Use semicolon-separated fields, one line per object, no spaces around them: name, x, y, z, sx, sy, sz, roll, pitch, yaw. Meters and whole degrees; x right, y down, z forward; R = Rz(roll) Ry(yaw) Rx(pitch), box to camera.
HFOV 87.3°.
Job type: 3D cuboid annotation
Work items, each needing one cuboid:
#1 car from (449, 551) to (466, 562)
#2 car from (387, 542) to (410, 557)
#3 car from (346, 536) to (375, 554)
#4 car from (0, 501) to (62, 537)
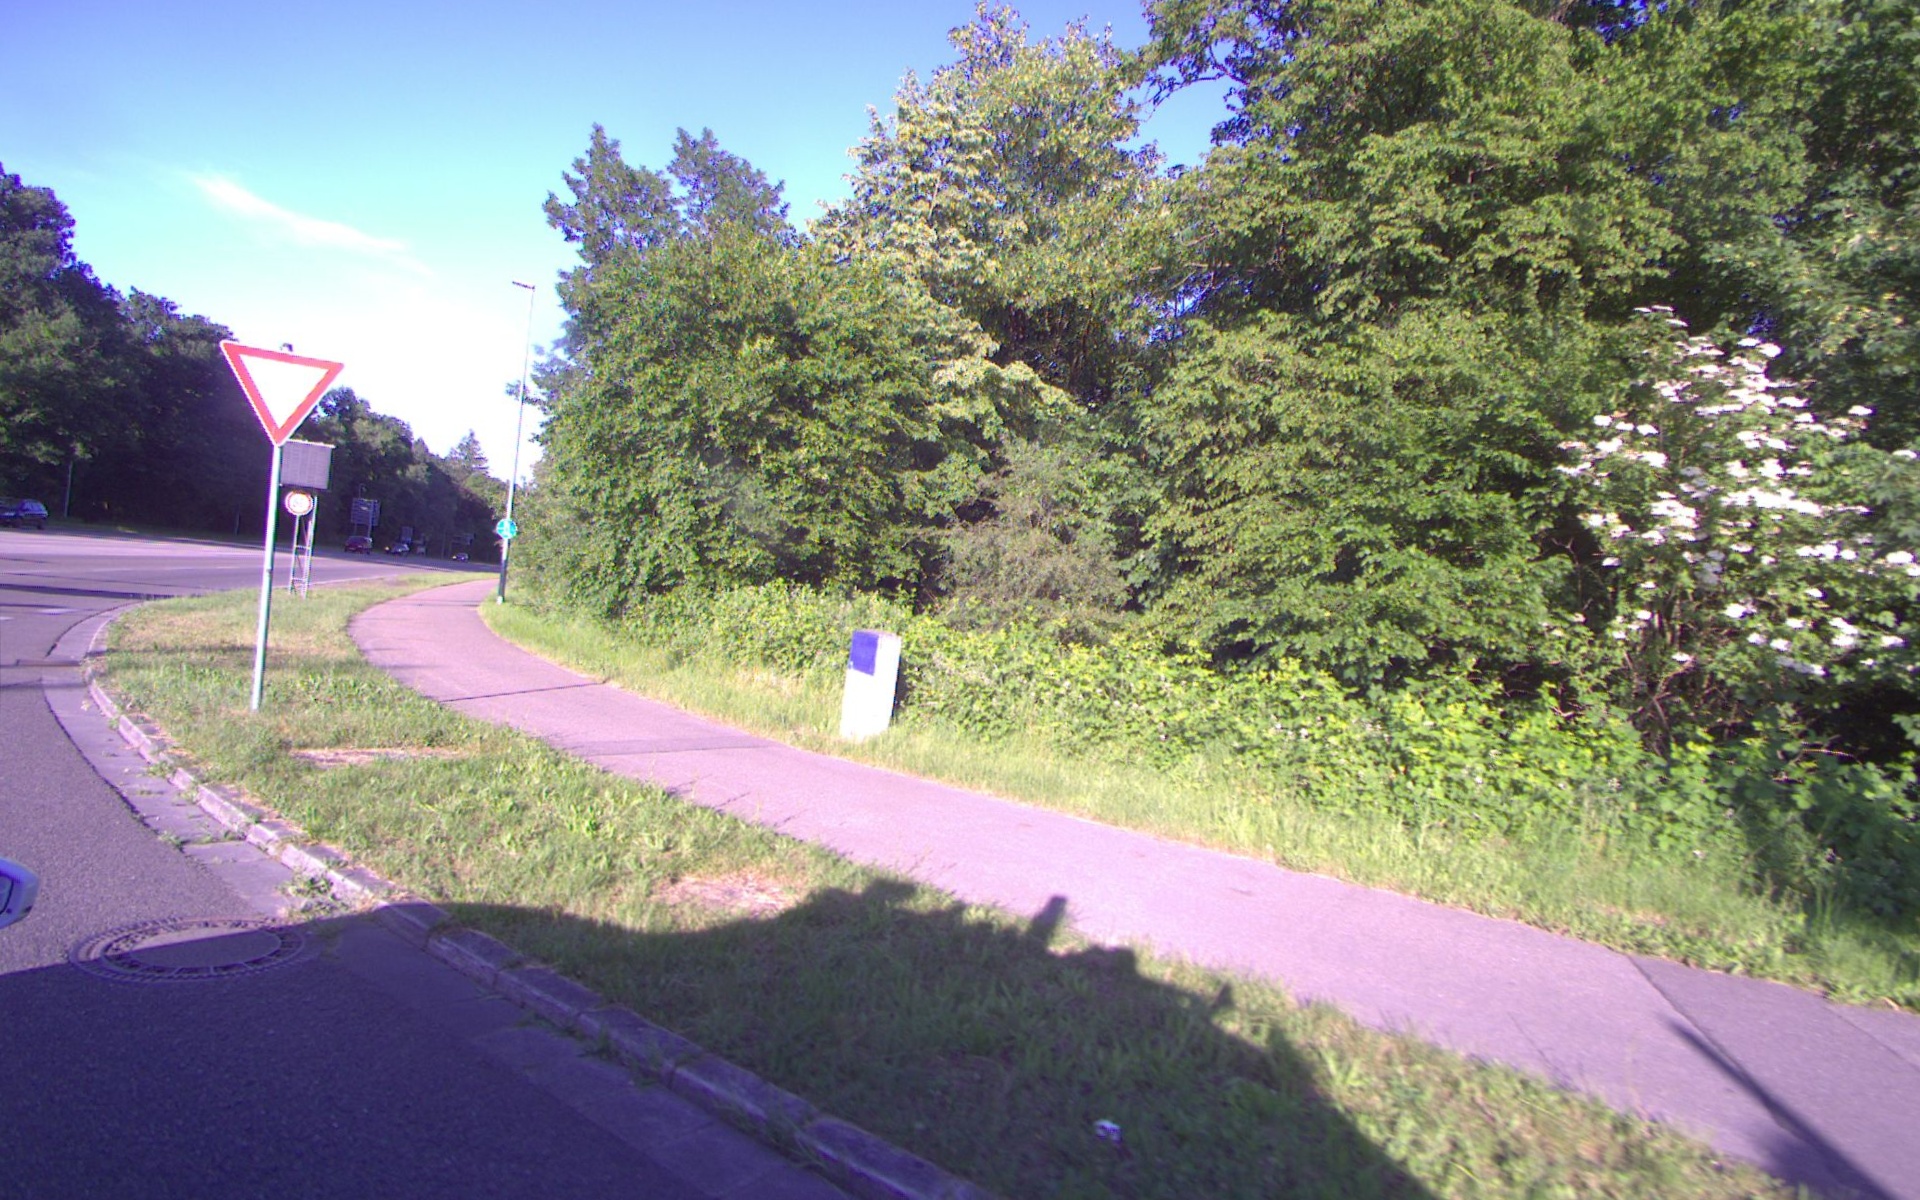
car;-83.969;-7.187;168.076;1.973;1.547;4.628;7;-1;-22
car;-74.243;-6.638;133.054;1.973;1.547;4.628;7;-1;-22
car;-66.877;-6.125;112.227;1.973;1.547;4.628;7;-1;-22
car;-49.607;-4.321;52.807;1.972;1.547;4.631;7;-1;-19
